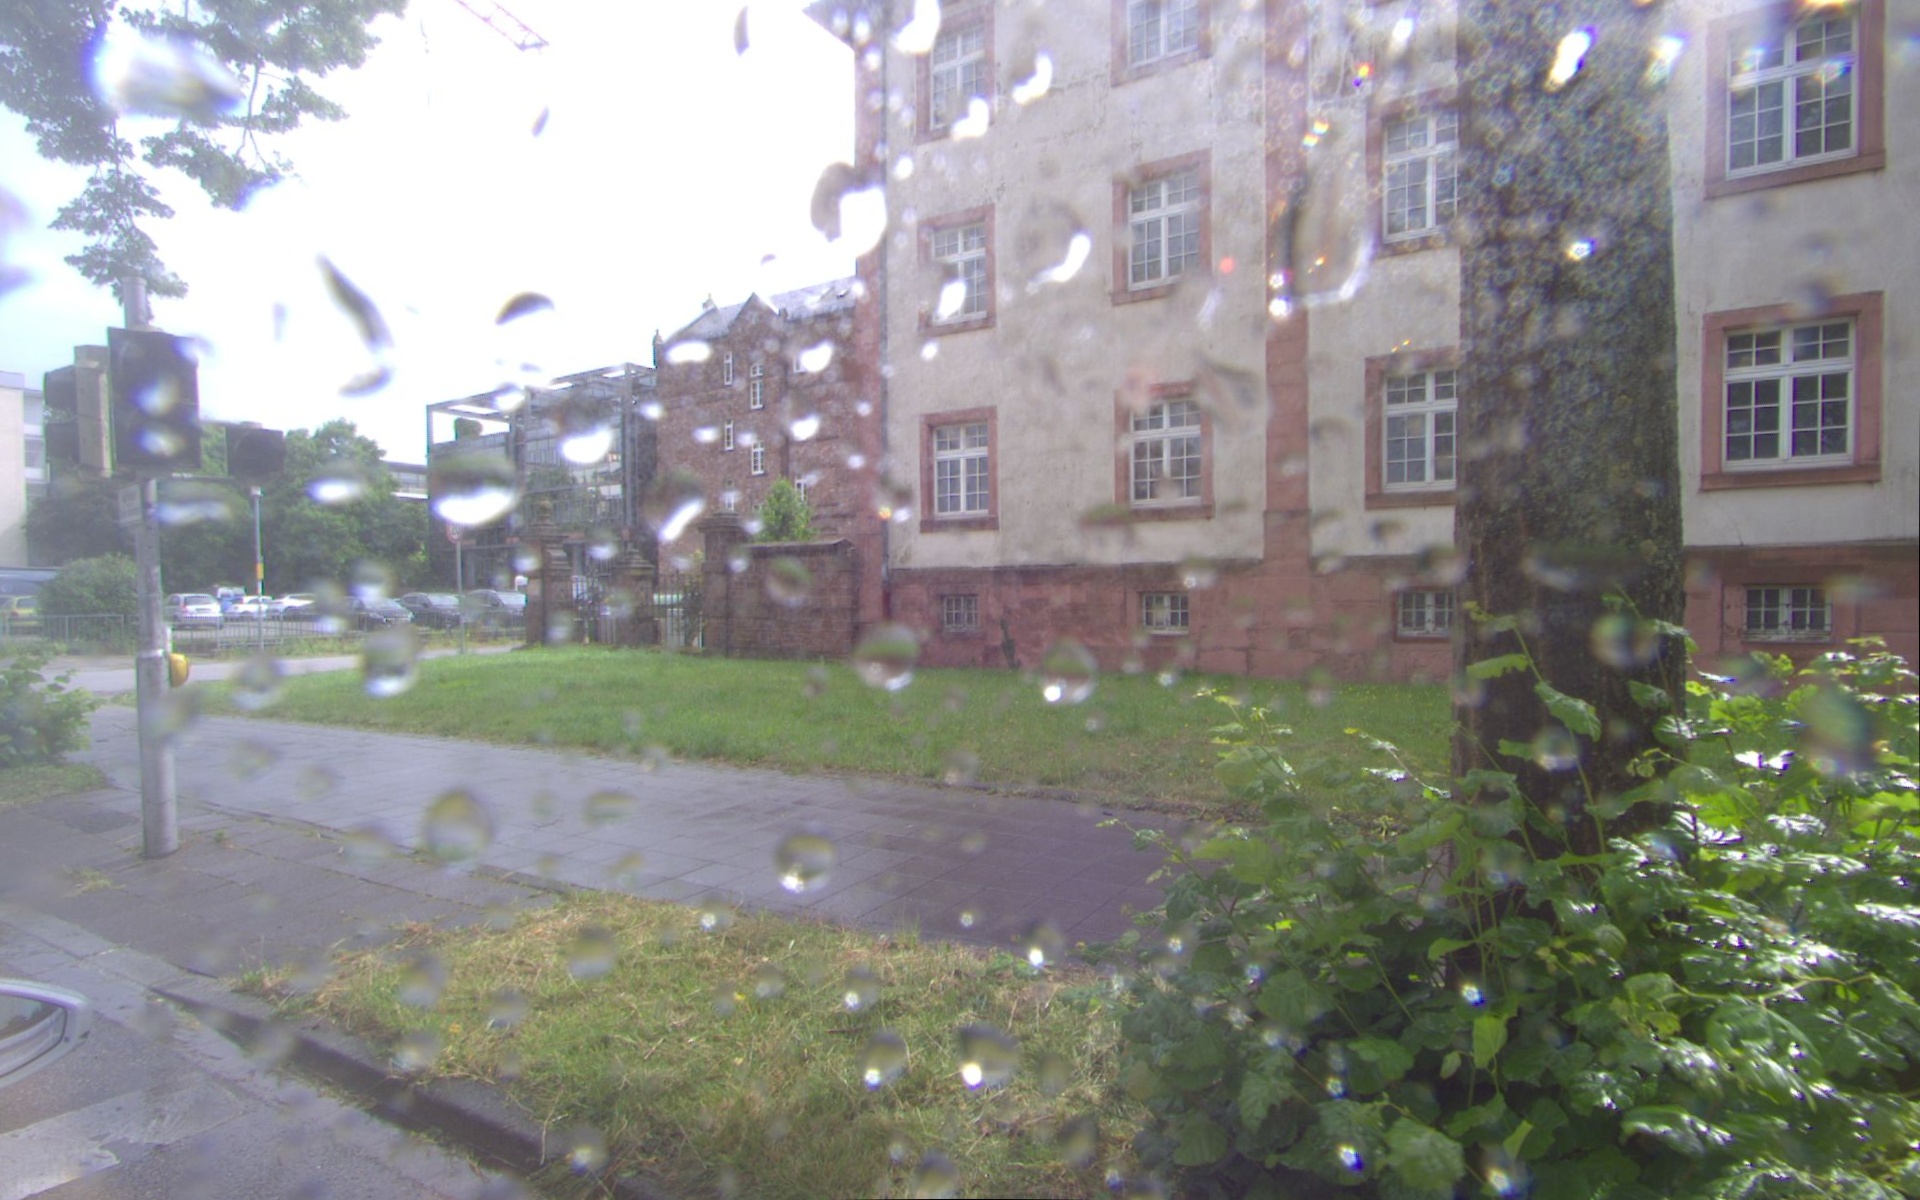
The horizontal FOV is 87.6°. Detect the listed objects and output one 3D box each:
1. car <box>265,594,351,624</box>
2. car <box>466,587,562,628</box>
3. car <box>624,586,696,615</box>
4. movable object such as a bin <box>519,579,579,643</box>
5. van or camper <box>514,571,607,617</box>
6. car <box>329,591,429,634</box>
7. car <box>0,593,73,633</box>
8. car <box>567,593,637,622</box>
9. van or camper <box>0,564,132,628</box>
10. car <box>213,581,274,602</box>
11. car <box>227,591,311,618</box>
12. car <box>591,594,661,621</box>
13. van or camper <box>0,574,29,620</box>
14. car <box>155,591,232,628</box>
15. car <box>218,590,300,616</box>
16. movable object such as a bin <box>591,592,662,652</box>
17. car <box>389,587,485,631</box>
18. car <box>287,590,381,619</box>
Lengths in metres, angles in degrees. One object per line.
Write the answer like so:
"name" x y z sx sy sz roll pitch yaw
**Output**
"car" -35.978 0.472 55.317 1.617 1.506 3.654 0 1 36
"car" -19.555 0.293 43.869 4.363 1.702 1.847 0 1 35
"car" -16.834 -0.010 56.340 1.649 1.545 3.656 0 1 34
"movable object such as a bin" -9.678 0.245 23.573 1.081 1.477 0.797 1 3 34
"van or camper" -23.765 -0.280 59.731 2.226 2.518 4.778 -1 -2 32
"car" -22.573 0.458 38.853 4.366 1.547 1.822 0 1 38
"car" -36.245 0.478 39.093 3.370 1.468 1.606 0 1 35
"car" -21.078 0.403 59.084 1.649 1.598 3.656 0 1 34
"van or camper" -38.485 -0.135 42.327 2.145 2.588 4.986 -1 0 34
"car" -50.746 -0.633 70.946 1.489 1.416 3.214 0 1 36
"car" -40.229 0.233 58.368 1.617 1.506 3.654 0 1 36
"car" -19.288 0.457 57.943 1.649 1.506 3.657 0 -1 34
"van or camper" -47.475 -0.140 47.312 2.291 2.160 4.743 1 1 36
"car" -33.068 0.391 43.175 3.668 1.506 1.643 0 1 36
"car" -41.938 0.149 59.952 1.617 1.506 3.654 0 1 36
"movable object such as a bin" -8.548 0.542 25.697 1.371 1.477 1.103 1 3 34
"car" -21.489 0.331 41.096 4.368 1.702 1.845 0 1 39
"car" -33.836 0.229 54.201 1.649 1.485 3.962 0 1 34
